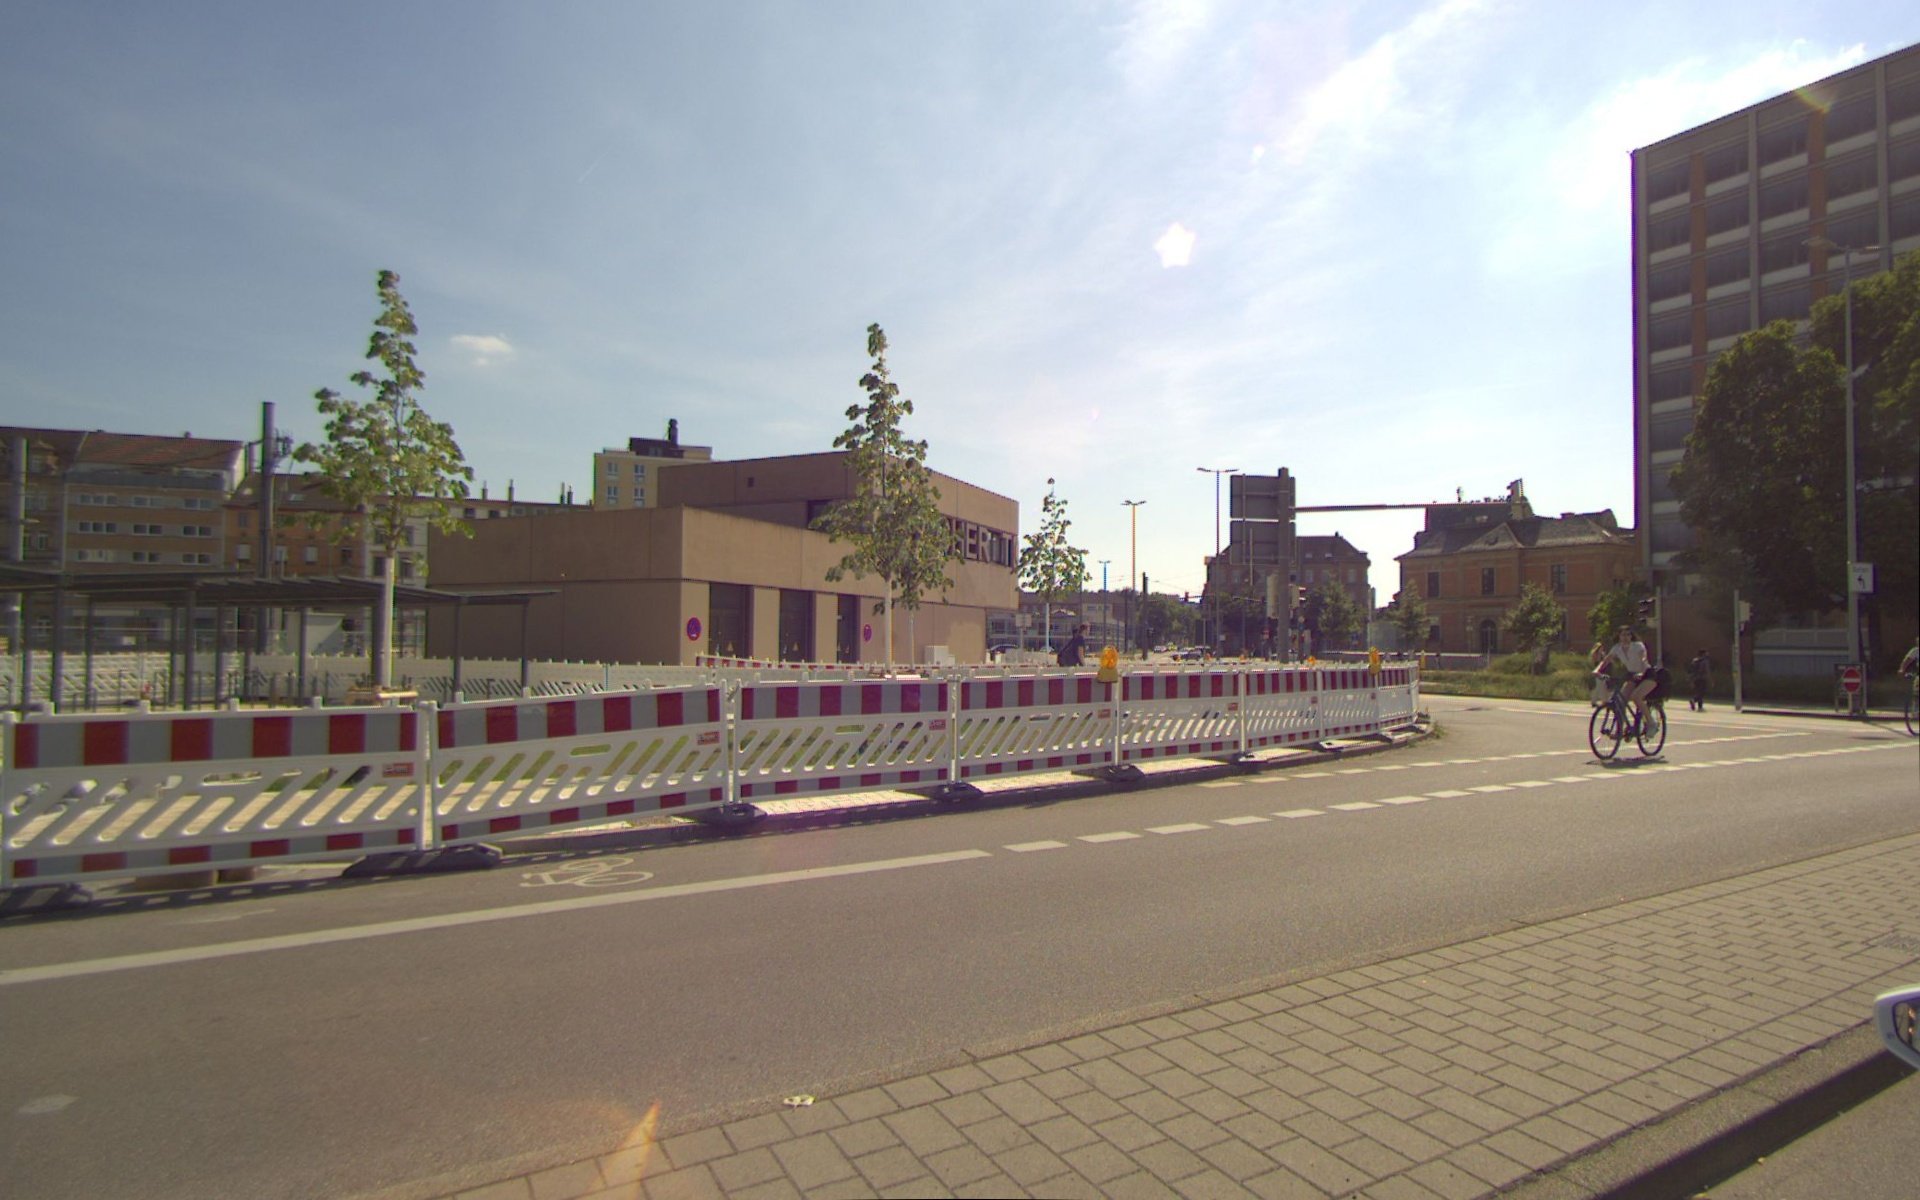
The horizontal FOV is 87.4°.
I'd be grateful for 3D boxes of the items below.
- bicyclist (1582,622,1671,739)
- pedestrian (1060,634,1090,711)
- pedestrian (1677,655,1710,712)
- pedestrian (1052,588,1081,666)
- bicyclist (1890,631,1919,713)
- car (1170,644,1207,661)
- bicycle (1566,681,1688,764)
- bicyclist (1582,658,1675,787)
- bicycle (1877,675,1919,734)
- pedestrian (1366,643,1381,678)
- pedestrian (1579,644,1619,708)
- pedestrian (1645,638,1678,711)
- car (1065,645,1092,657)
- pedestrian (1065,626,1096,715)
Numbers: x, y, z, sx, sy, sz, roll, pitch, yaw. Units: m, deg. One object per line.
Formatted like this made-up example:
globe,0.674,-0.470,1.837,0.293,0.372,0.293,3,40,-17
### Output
bicyclist,8.701,1.044,13.120,0.911,1.462,0.615,2,-5,-35
pedestrian,2.610,1.640,22.777,0.559,1.731,0.539,1,-2,-9
pedestrian,20.112,2.275,27.545,0.624,1.511,0.613,-2,-3,44
pedestrian,2.500,0.632,23.569,0.559,1.801,0.544,1,-2,-9
bicyclist,17.193,1.290,17.958,1.019,1.435,0.536,3,-4,-32
car,26.909,6.195,118.187,3.953,2.040,1.985,2,-3,-30
bicycle,8.708,1.561,13.086,1.948,0.973,0.615,2,-5,-35
bicyclist,8.708,1.561,13.086,1.004,1.602,0.615,2,-5,-35
bicycle,17.327,1.878,18.087,2.009,0.990,0.700,4,-4,-32
pedestrian,24.155,3.537,58.688,0.517,2.040,0.622,2,-3,-34
pedestrian,18.157,2.149,28.537,0.728,1.775,1.104,-2,-5,44
pedestrian,20.269,2.136,29.022,0.604,2.040,0.687,2,-1,23
car,17.023,7.325,144.380,3.973,1.739,1.630,3,-4,-44
pedestrian,2.659,1.542,22.151,0.595,1.940,0.441,1,-2,-9
